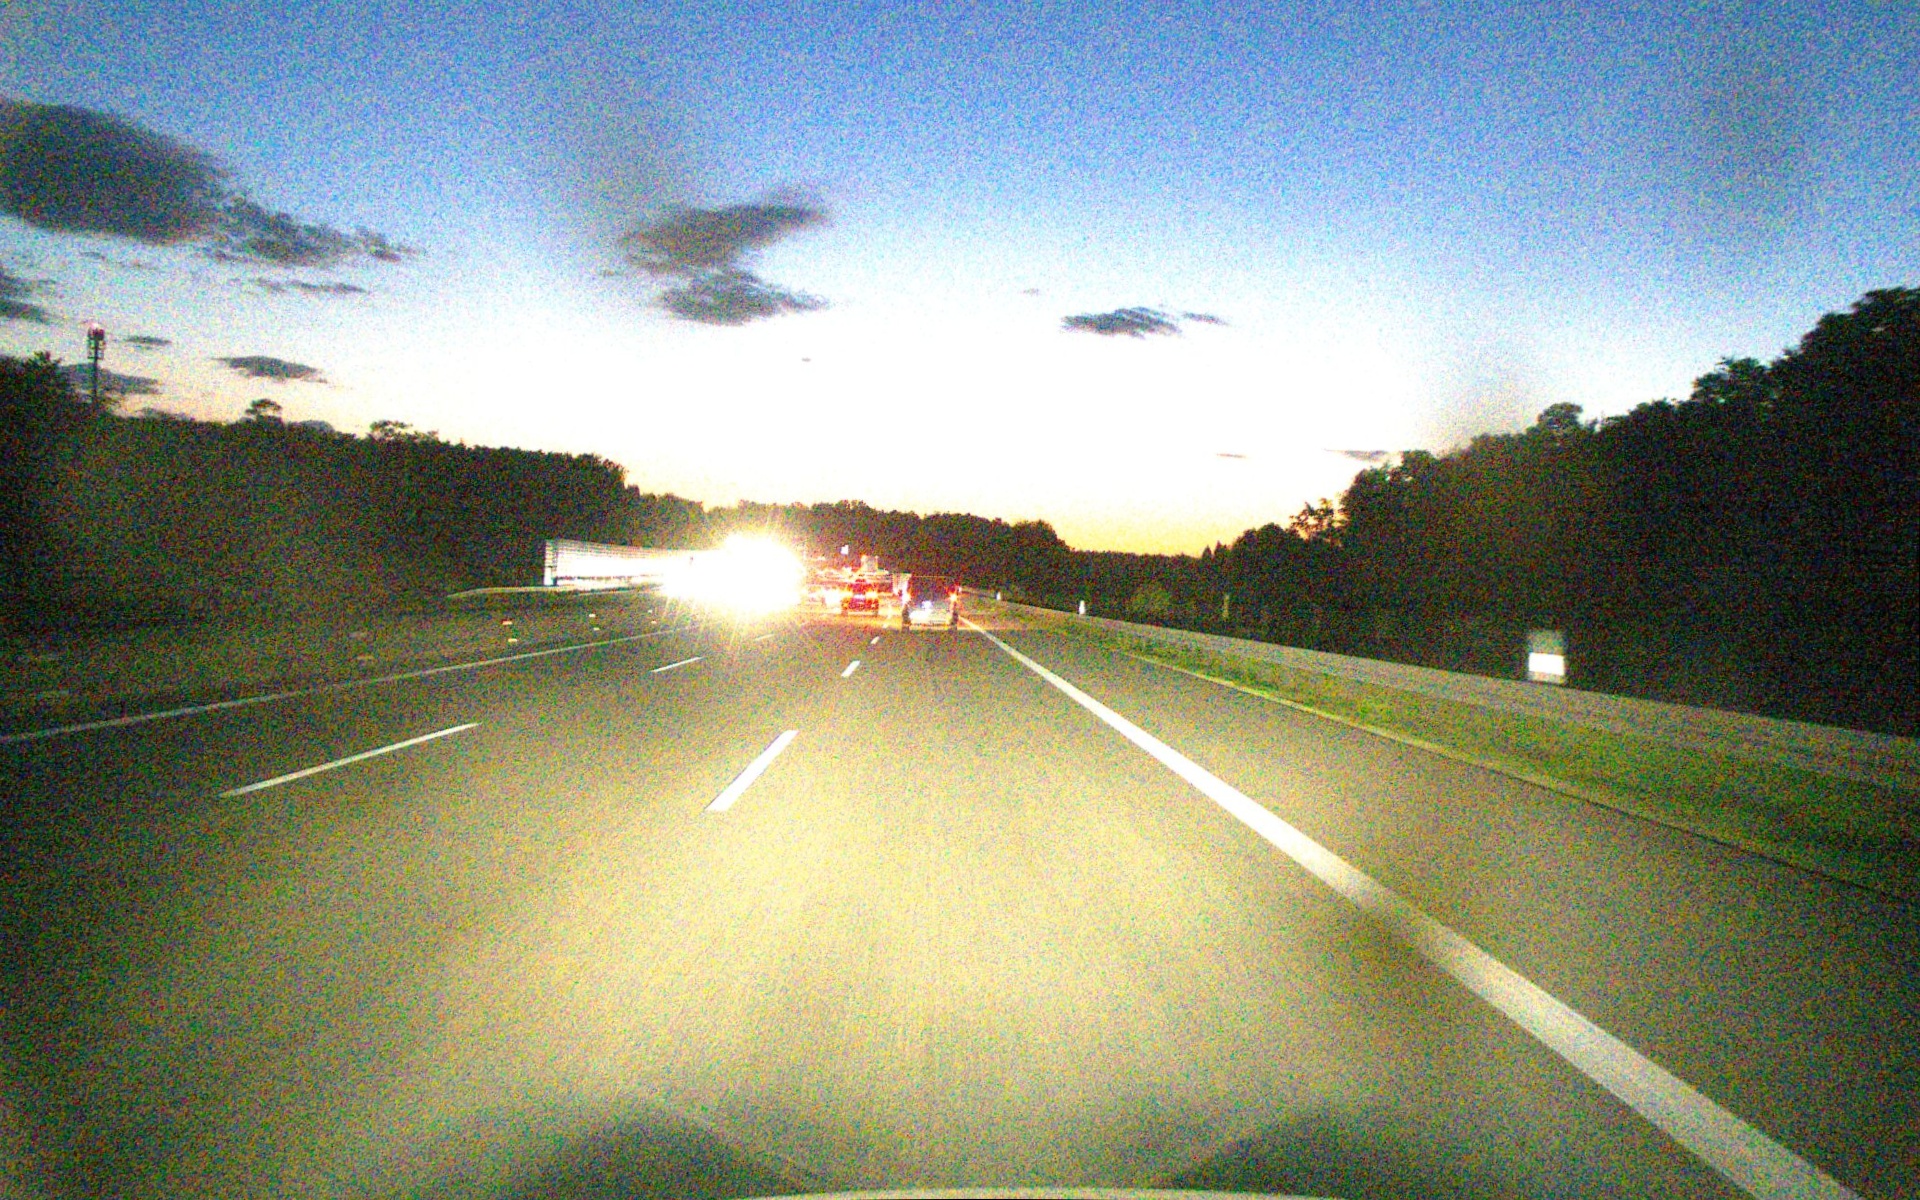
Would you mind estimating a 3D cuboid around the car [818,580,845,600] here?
[{"bbox_3d":[-10.190,-0.810,131.293,1.743,1.513,5.254,-1,1,0],"label":"car"}]

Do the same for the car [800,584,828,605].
[{"bbox_3d":[-10.478,-0.356,118.940,1.518,1.456,5.514,1,0,0],"label":"car"}]

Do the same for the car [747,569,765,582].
[{"bbox_3d":[-28.643,-3.449,232.496,2.062,1.820,4.868,1,1,-2],"label":"car"}]

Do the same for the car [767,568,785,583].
[{"bbox_3d":[-25.000,-3.328,225.173,2.062,1.820,4.318,1,0,-2],"label":"car"}]

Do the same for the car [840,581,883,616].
[{"bbox_3d":[-5.103,-0.072,86.652,1.953,1.751,5.941,0,0,0],"label":"car"}]

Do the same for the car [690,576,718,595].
[{"bbox_3d":[-24.603,-1.381,159.197,2.062,1.820,4.657,1,0,-2],"label":"car"}]

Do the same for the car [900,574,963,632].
[{"bbox_3d":[-1.065,0.084,59.468,2.152,1.989,4.762,0,1,-2],"label":"car"}]

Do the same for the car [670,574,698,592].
[{"bbox_3d":[-28.722,-1.780,172.306,2.062,1.717,5.384,1,0,-2],"label":"car"}]
